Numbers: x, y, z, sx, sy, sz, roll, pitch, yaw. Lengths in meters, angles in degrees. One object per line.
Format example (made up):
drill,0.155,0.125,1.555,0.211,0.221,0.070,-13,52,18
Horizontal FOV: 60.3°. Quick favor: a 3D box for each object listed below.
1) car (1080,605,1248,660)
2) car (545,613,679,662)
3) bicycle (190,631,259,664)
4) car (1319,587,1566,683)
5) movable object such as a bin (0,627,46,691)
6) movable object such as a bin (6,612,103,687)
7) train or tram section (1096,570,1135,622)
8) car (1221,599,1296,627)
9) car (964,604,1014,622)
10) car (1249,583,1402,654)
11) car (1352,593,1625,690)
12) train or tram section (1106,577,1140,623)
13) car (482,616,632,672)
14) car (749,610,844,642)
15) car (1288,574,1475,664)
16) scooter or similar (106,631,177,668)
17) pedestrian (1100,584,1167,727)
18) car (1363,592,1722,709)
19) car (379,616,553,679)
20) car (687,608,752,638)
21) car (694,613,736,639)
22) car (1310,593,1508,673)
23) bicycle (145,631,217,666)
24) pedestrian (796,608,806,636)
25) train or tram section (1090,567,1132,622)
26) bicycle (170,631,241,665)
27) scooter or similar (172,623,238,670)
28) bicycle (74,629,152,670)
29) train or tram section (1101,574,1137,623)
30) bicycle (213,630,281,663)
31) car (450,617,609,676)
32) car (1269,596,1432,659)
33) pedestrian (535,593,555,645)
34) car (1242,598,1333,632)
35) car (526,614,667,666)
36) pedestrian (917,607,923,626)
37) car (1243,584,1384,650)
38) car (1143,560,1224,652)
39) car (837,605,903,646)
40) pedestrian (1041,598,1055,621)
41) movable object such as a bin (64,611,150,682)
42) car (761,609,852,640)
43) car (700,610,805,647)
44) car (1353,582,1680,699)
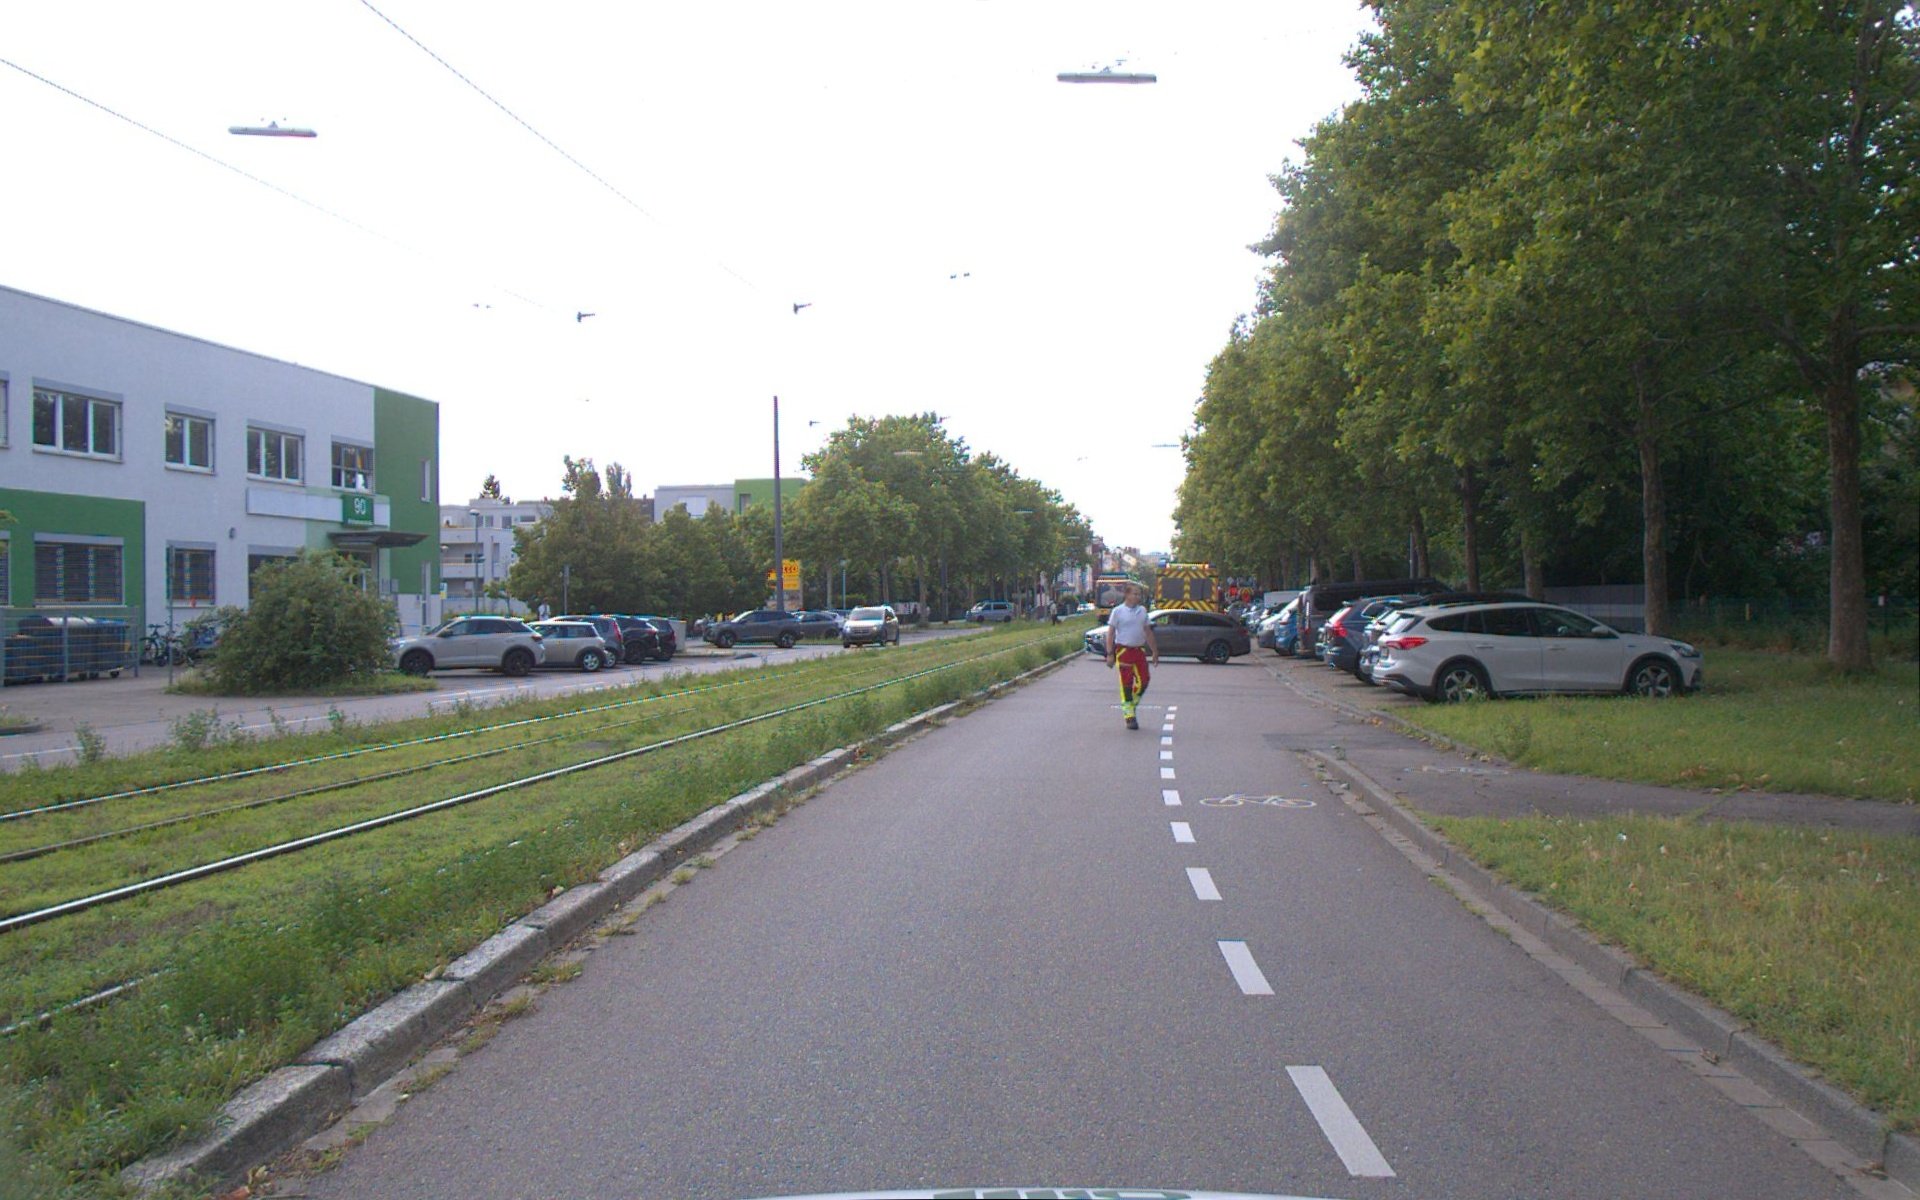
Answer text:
car,5.629,0.898,45.862,4.365,1.410,1.765,1,0,-4
car,-11.722,1.254,55.682,4.161,1.508,1.871,-1,0,-21
bicycle,-20.976,1.350,47.165,1.818,0.915,0.459,1,-1,8
car,9.081,0.660,31.460,4.287,1.668,1.757,-2,-1,10
movable object such as a bin,-20.100,1.224,34.755,0.984,1.255,1.257,1,1,10
movable object such as a bin,-19.833,1.073,36.270,0.984,1.546,1.713,1,1,10
train or tram section,11.606,-0.207,123.237,2.458,3.647,7.450,-2,-1,8
car,18.814,0.813,104.296,4.450,1.637,1.857,-2,-1,4
car,2.794,1.253,158.065,4.566,1.661,1.863,-1,0,-31
car,11.418,0.580,51.904,4.450,2.036,1.857,-2,-1,4
car,9.102,0.705,28.783,4.287,1.527,1.757,-2,0,10
train or tram section,13.610,0.053,137.965,2.458,3.647,7.450,-2,-1,8
car,-12.089,1.290,49.605,4.161,1.508,1.871,-1,0,-21
car,-7.906,1.259,79.996,4.172,1.508,1.866,1,-1,-28
car,10.853,0.500,42.872,4.449,2.160,1.857,-2,-1,8
scooter or similar,-21.592,1.305,43.643,1.698,0.915,0.459,1,-1,8
pedestrian,2.139,0.671,20.295,0.786,1.716,0.852,0,-1,8
car,8.335,0.712,23.998,4.560,1.499,1.849,-2,0,4
car,-13.036,1.221,43.692,4.170,1.508,1.867,-1,0,-26
car,-15.282,1.439,104.901,3.925,1.780,1.990,1,0,40
car,-17.722,1.851,119.873,1.951,1.780,4.003,1,0,8
car,9.982,0.718,36.913,3.886,1.633,1.755,-2,-1,-2
bicycle,-21.251,1.314,45.137,1.818,0.915,0.459,1,-1,8
pedestrian,-9.637,1.326,100.238,0.456,1.706,0.604,-1,-1,6
train or tram section,10.614,-0.336,115.866,2.458,3.647,7.450,-2,-1,8
bicycle,-21.113,1.334,46.274,1.818,0.915,0.459,1,-1,8
scooter or similar,-19.898,1.221,43.589,1.281,1.176,1.089,0,-1,37
bicycle,-21.581,1.263,42.132,1.818,1.003,0.459,1,-1,8
train or tram section,12.607,-0.077,130.620,2.458,3.647,7.450,-2,-1,8
bicycle,-20.780,1.361,48.205,1.818,0.915,0.459,1,-1,8
car,-12.182,1.297,46.757,4.161,1.508,1.871,-1,0,-21
car,11.579,0.815,49.313,4.450,1.689,1.857,-2,-1,4
pedestrian,-15.007,0.701,59.802,0.534,1.860,0.509,-1,-1,6
car,17.055,0.774,86.260,4.450,1.637,1.857,-2,-1,4
car,-11.555,1.233,52.568,4.161,1.508,1.871,-1,0,-21
pedestrian,-3.211,1.338,132.372,0.412,1.499,0.468,-1,-1,3
car,12.014,0.592,56.464,4.450,2.079,1.857,-2,-1,4
car,8.065,0.215,59.095,2.585,3.018,6.304,2,0,10
car,-3.744,1.040,69.554,1.951,1.585,4.373,-2,0,7
pedestrian,5.953,0.631,112.060,0.862,1.552,0.751,1,-1,8
movable object such as a bin,-19.550,1.046,37.944,0.984,1.546,1.606,1,1,10
car,-7.688,1.232,82.968,4.172,1.508,1.866,1,-1,-28
car,-8.771,1.196,69.930,4.153,1.508,1.875,0,-1,-17
car,8.701,0.627,26.198,4.560,1.654,1.849,-2,0,4
